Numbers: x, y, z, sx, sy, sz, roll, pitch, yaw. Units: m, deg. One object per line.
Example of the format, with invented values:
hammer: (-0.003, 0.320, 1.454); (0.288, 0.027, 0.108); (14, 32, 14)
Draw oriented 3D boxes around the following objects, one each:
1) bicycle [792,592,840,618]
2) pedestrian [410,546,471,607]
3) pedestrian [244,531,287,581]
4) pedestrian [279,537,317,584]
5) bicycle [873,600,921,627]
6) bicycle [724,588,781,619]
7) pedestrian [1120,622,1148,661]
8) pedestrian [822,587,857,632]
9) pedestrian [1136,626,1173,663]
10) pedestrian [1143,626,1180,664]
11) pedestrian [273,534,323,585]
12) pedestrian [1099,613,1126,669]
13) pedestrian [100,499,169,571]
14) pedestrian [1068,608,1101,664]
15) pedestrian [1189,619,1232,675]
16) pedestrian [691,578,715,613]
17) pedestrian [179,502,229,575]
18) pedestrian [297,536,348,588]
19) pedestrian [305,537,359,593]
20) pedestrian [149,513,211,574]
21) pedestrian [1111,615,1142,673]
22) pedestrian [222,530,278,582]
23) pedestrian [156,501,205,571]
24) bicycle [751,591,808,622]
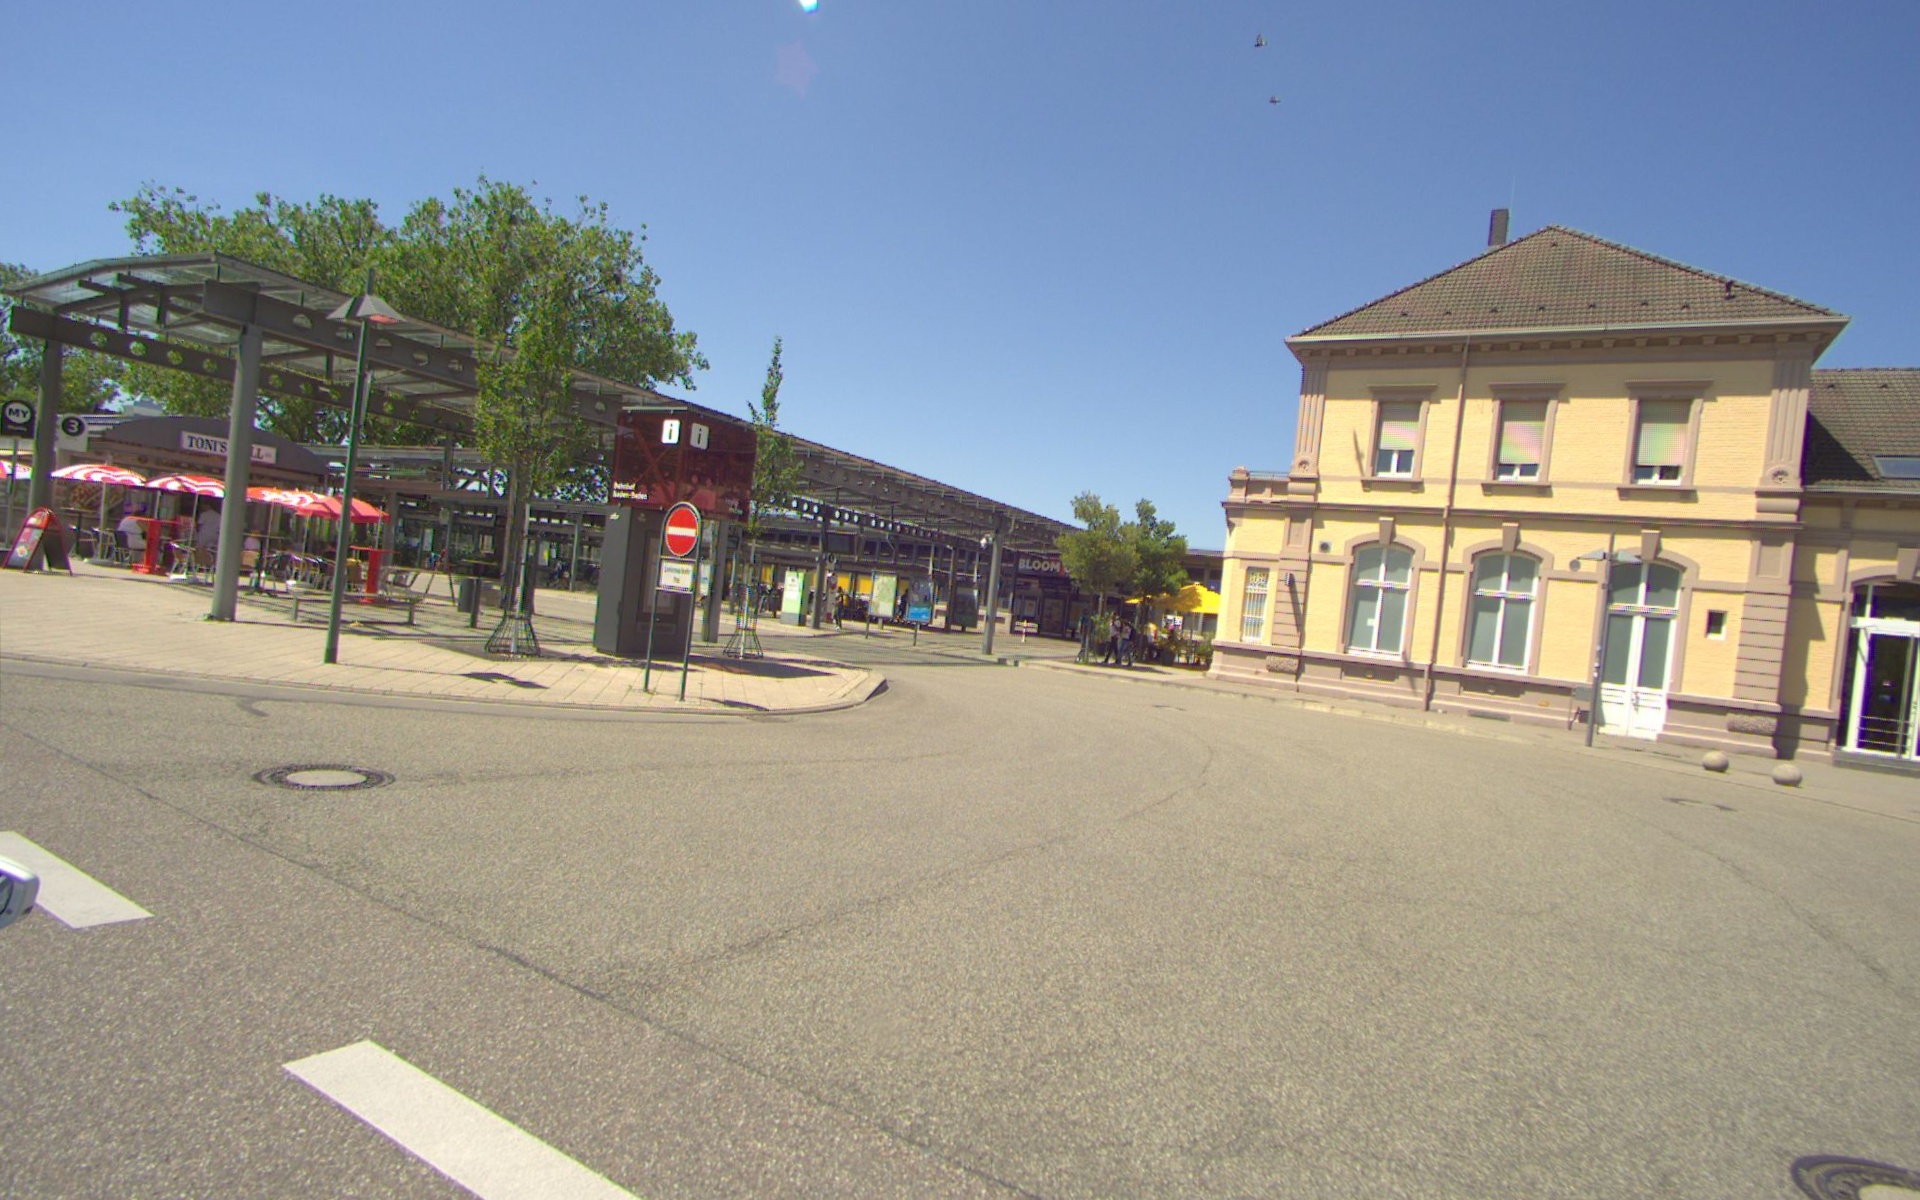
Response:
bicycle: (-7.601, 0.298, 53.132); (0.950, 1.015, 2.795); (6, -3, 29)
pedestrian: (-12.092, -0.547, 23.406); (0.881, 1.293, 0.845); (7, 0, 35)
pedestrian: (-18.772, -1.189, 27.193); (0.582, 1.219, 0.656); (6, -2, 30)
pedestrian: (-18.355, -1.099, 27.893); (0.653, 1.219, 0.585); (9, -3, -44)
bicycle: (-3.126, 0.693, 50.009); (0.950, 1.015, 2.795); (6, -3, 29)
bicycle: (-9.199, 0.170, 44.752); (0.797, 1.015, 2.795); (6, -3, 29)
pedestrian: (6.615, 1.575, 38.233); (0.958, 1.371, 1.052); (4, 2, 10)
pedestrian: (-4.635, 0.369, 38.548); (0.916, 1.610, 0.850); (6, 0, -31)
pedestrian: (7.838, 1.790, 40.550); (1.038, 1.371, 0.971); (3, 2, -25)
pedestrian: (7.826, 1.749, 39.032); (1.035, 1.371, 0.973); (5, 2, 33)
pedestrian: (-17.734, -1.092, 26.944); (0.725, 1.219, 0.760); (6, -2, 31)
pedestrian: (5.207, 1.396, 34.389); (0.547, 1.832, 0.493); (6, 1, -39)
pedestrian: (-17.982, -1.397, 21.925); (0.676, 1.435, 0.894); (6, 0, -6)
pedestrian: (4.245, 1.220, 34.261); (0.684, 1.832, 0.625); (6, 1, -38)
pedestrian: (9.009, 1.712, 36.191); (1.064, 1.870, 1.082); (6, 0, 29)
pedestrian: (-10.879, -0.188, 42.564); (0.665, 1.413, 0.625); (6, 2, 31)
pedestrian: (-19.533, -1.589, 26.002); (0.695, 1.759, 0.687); (6, 0, 31)
pedestrian: (-16.737, -0.996, 26.401); (0.725, 1.219, 0.760); (6, -2, 31)
pedestrian: (-14.554, -0.803, 23.301); (0.881, 1.175, 0.686); (7, 0, 35)
pedestrian: (-18.587, -1.341, 23.988); (0.676, 1.328, 0.894); (6, 0, -4)
pedestrian: (5.569, 1.471, 33.664); (0.626, 1.832, 0.590); (6, 1, -38)
pedestrian: (-17.776, -1.097, 25.197); (0.676, 1.175, 0.894); (6, 0, -4)
pedestrian: (-20.742, -1.700, 26.771); (0.695, 1.759, 0.687); (6, 0, 31)
bicycle: (-7.917, 0.309, 44.329); (0.797, 1.015, 2.795); (6, -3, 29)
